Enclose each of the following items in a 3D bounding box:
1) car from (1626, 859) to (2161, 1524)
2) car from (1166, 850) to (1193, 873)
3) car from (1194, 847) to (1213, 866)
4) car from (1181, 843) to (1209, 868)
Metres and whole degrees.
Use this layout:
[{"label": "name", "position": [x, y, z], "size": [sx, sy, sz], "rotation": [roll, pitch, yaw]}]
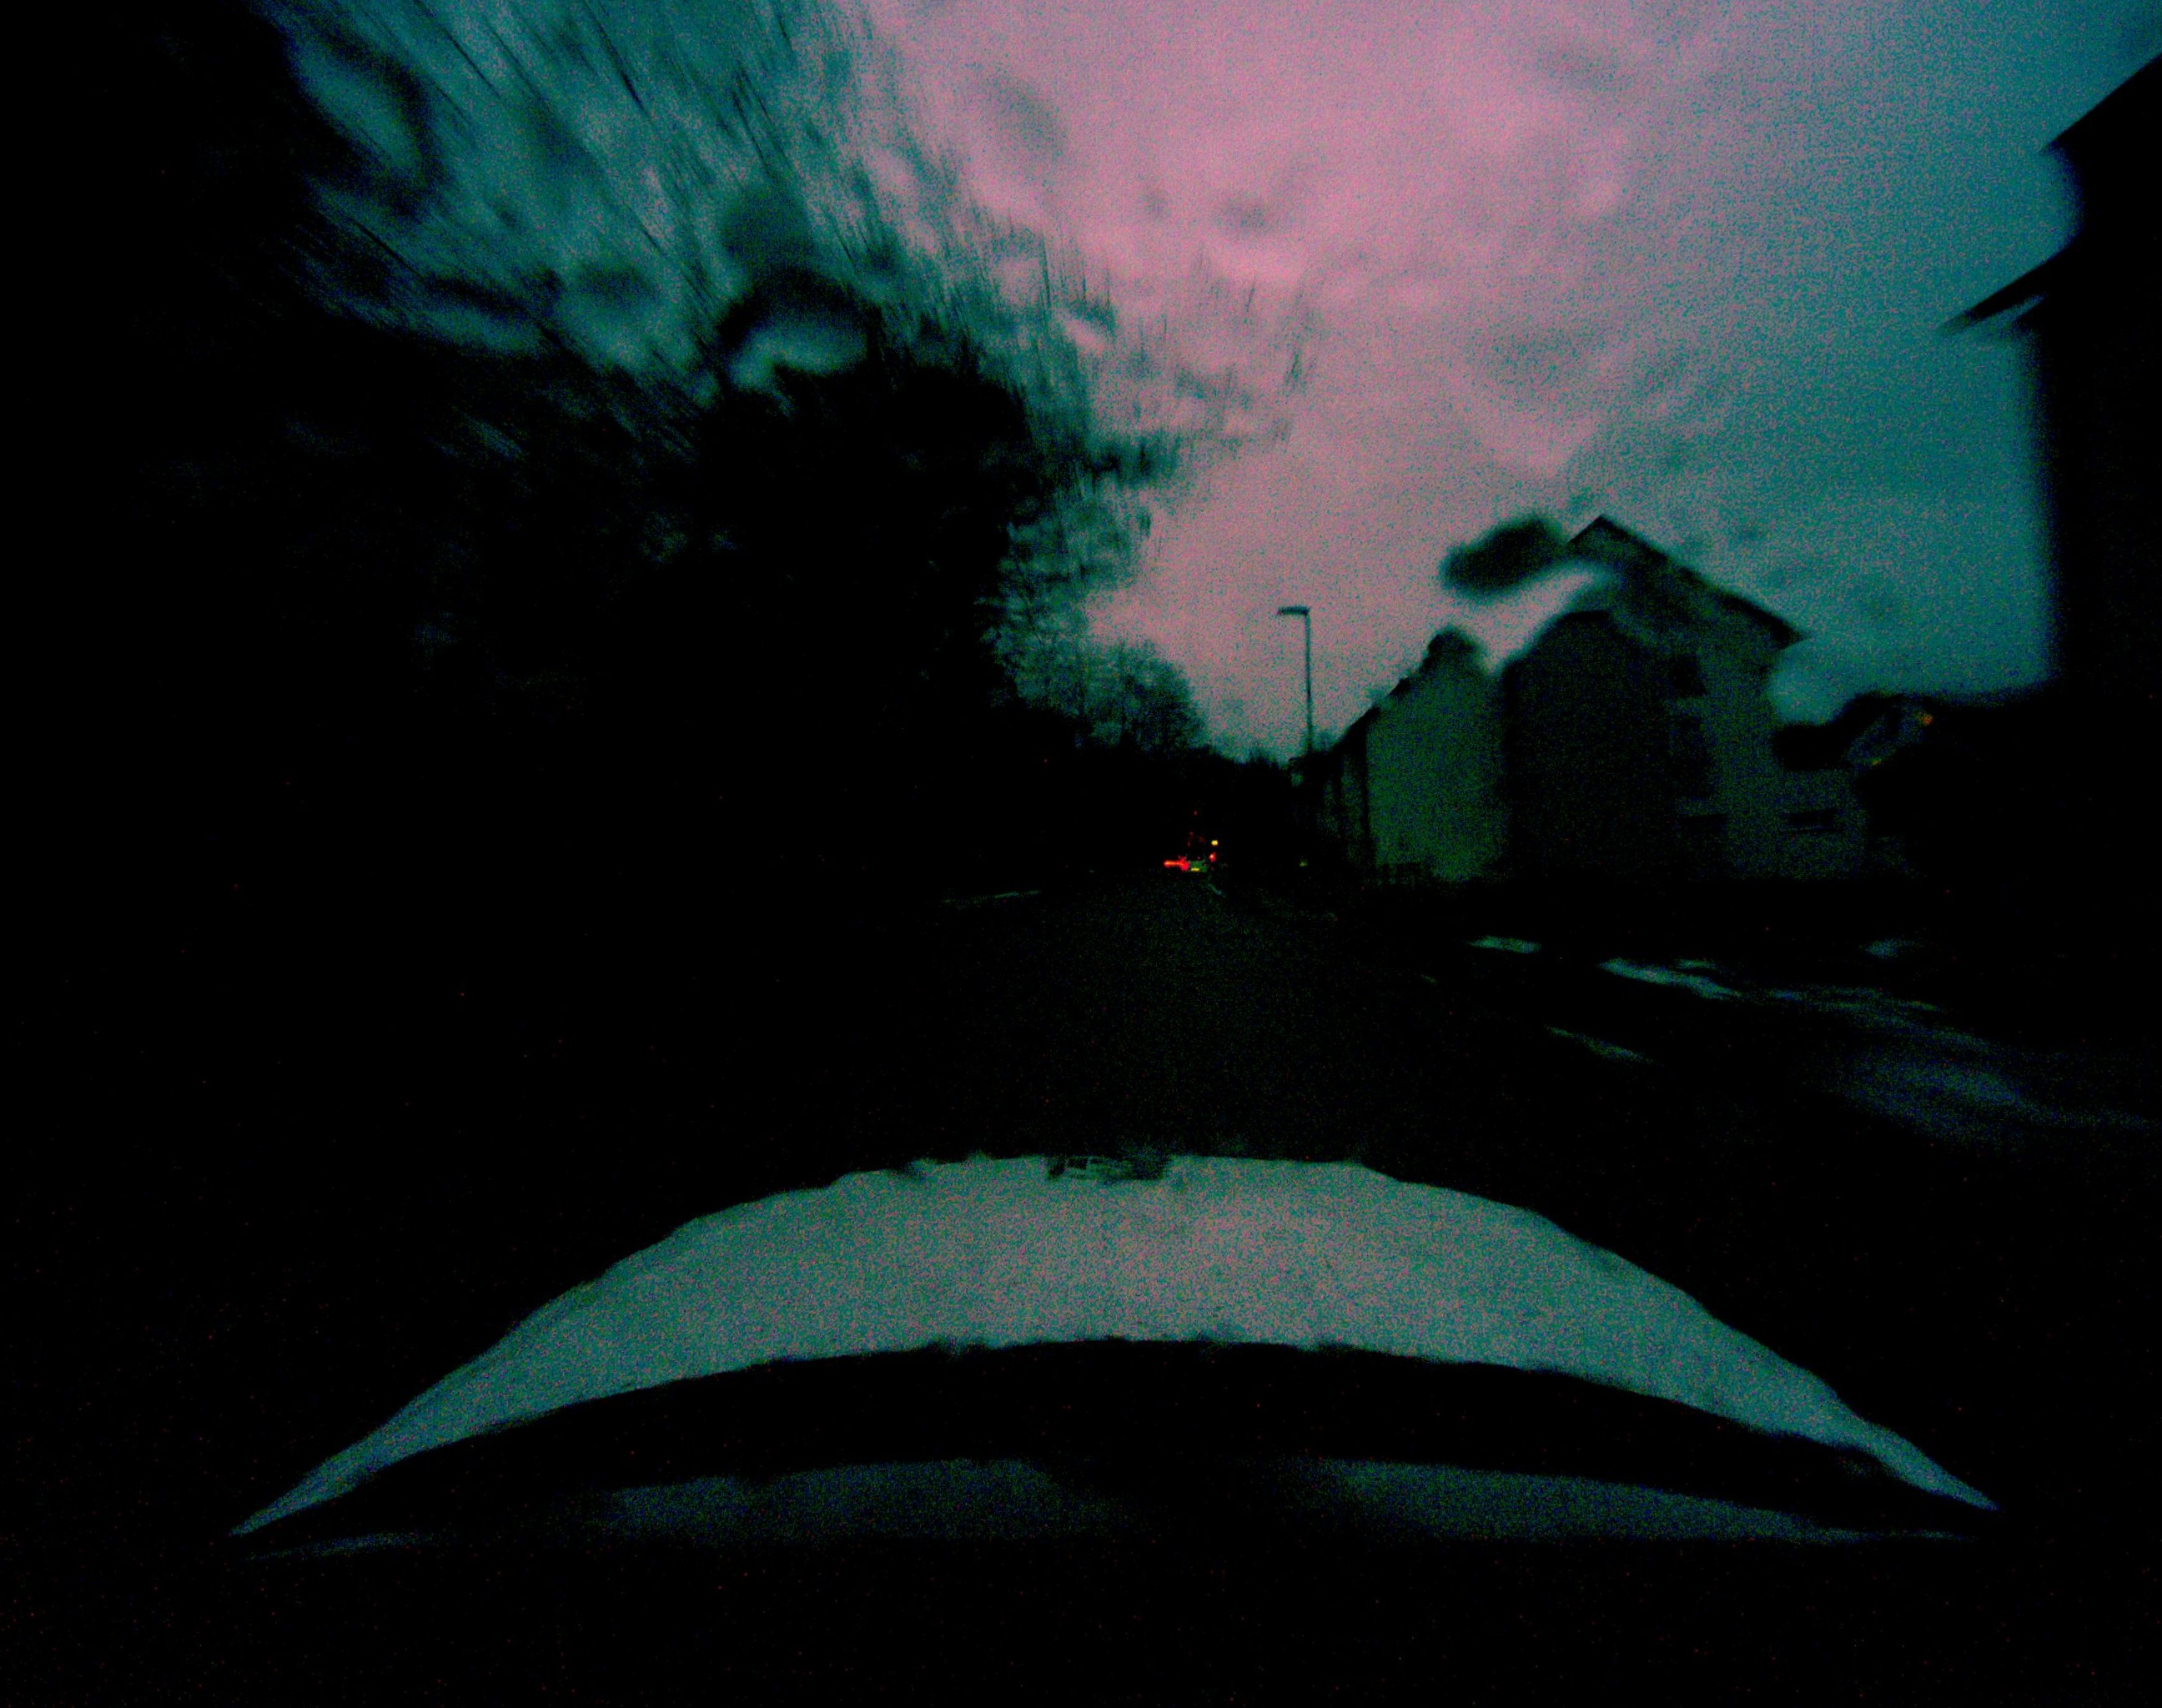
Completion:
[{"label": "car", "position": [3.201, 0.729, 1.256], "size": [1.733, 1.429, 4.455], "rotation": [0, 0, 0]}, {"label": "car", "position": [8.214, 0.571, 67.479], "size": [1.920, 1.781, 4.012], "rotation": [-2, 0, 11]}, {"label": "car", "position": [12.272, 0.203, 81.259], "size": [1.679, 1.774, 3.872], "rotation": [-2, 0, 11]}, {"label": "car", "position": [7.464, 0.106, 53.232], "size": [1.694, 1.506, 4.035], "rotation": [-1, 0, 9]}]
